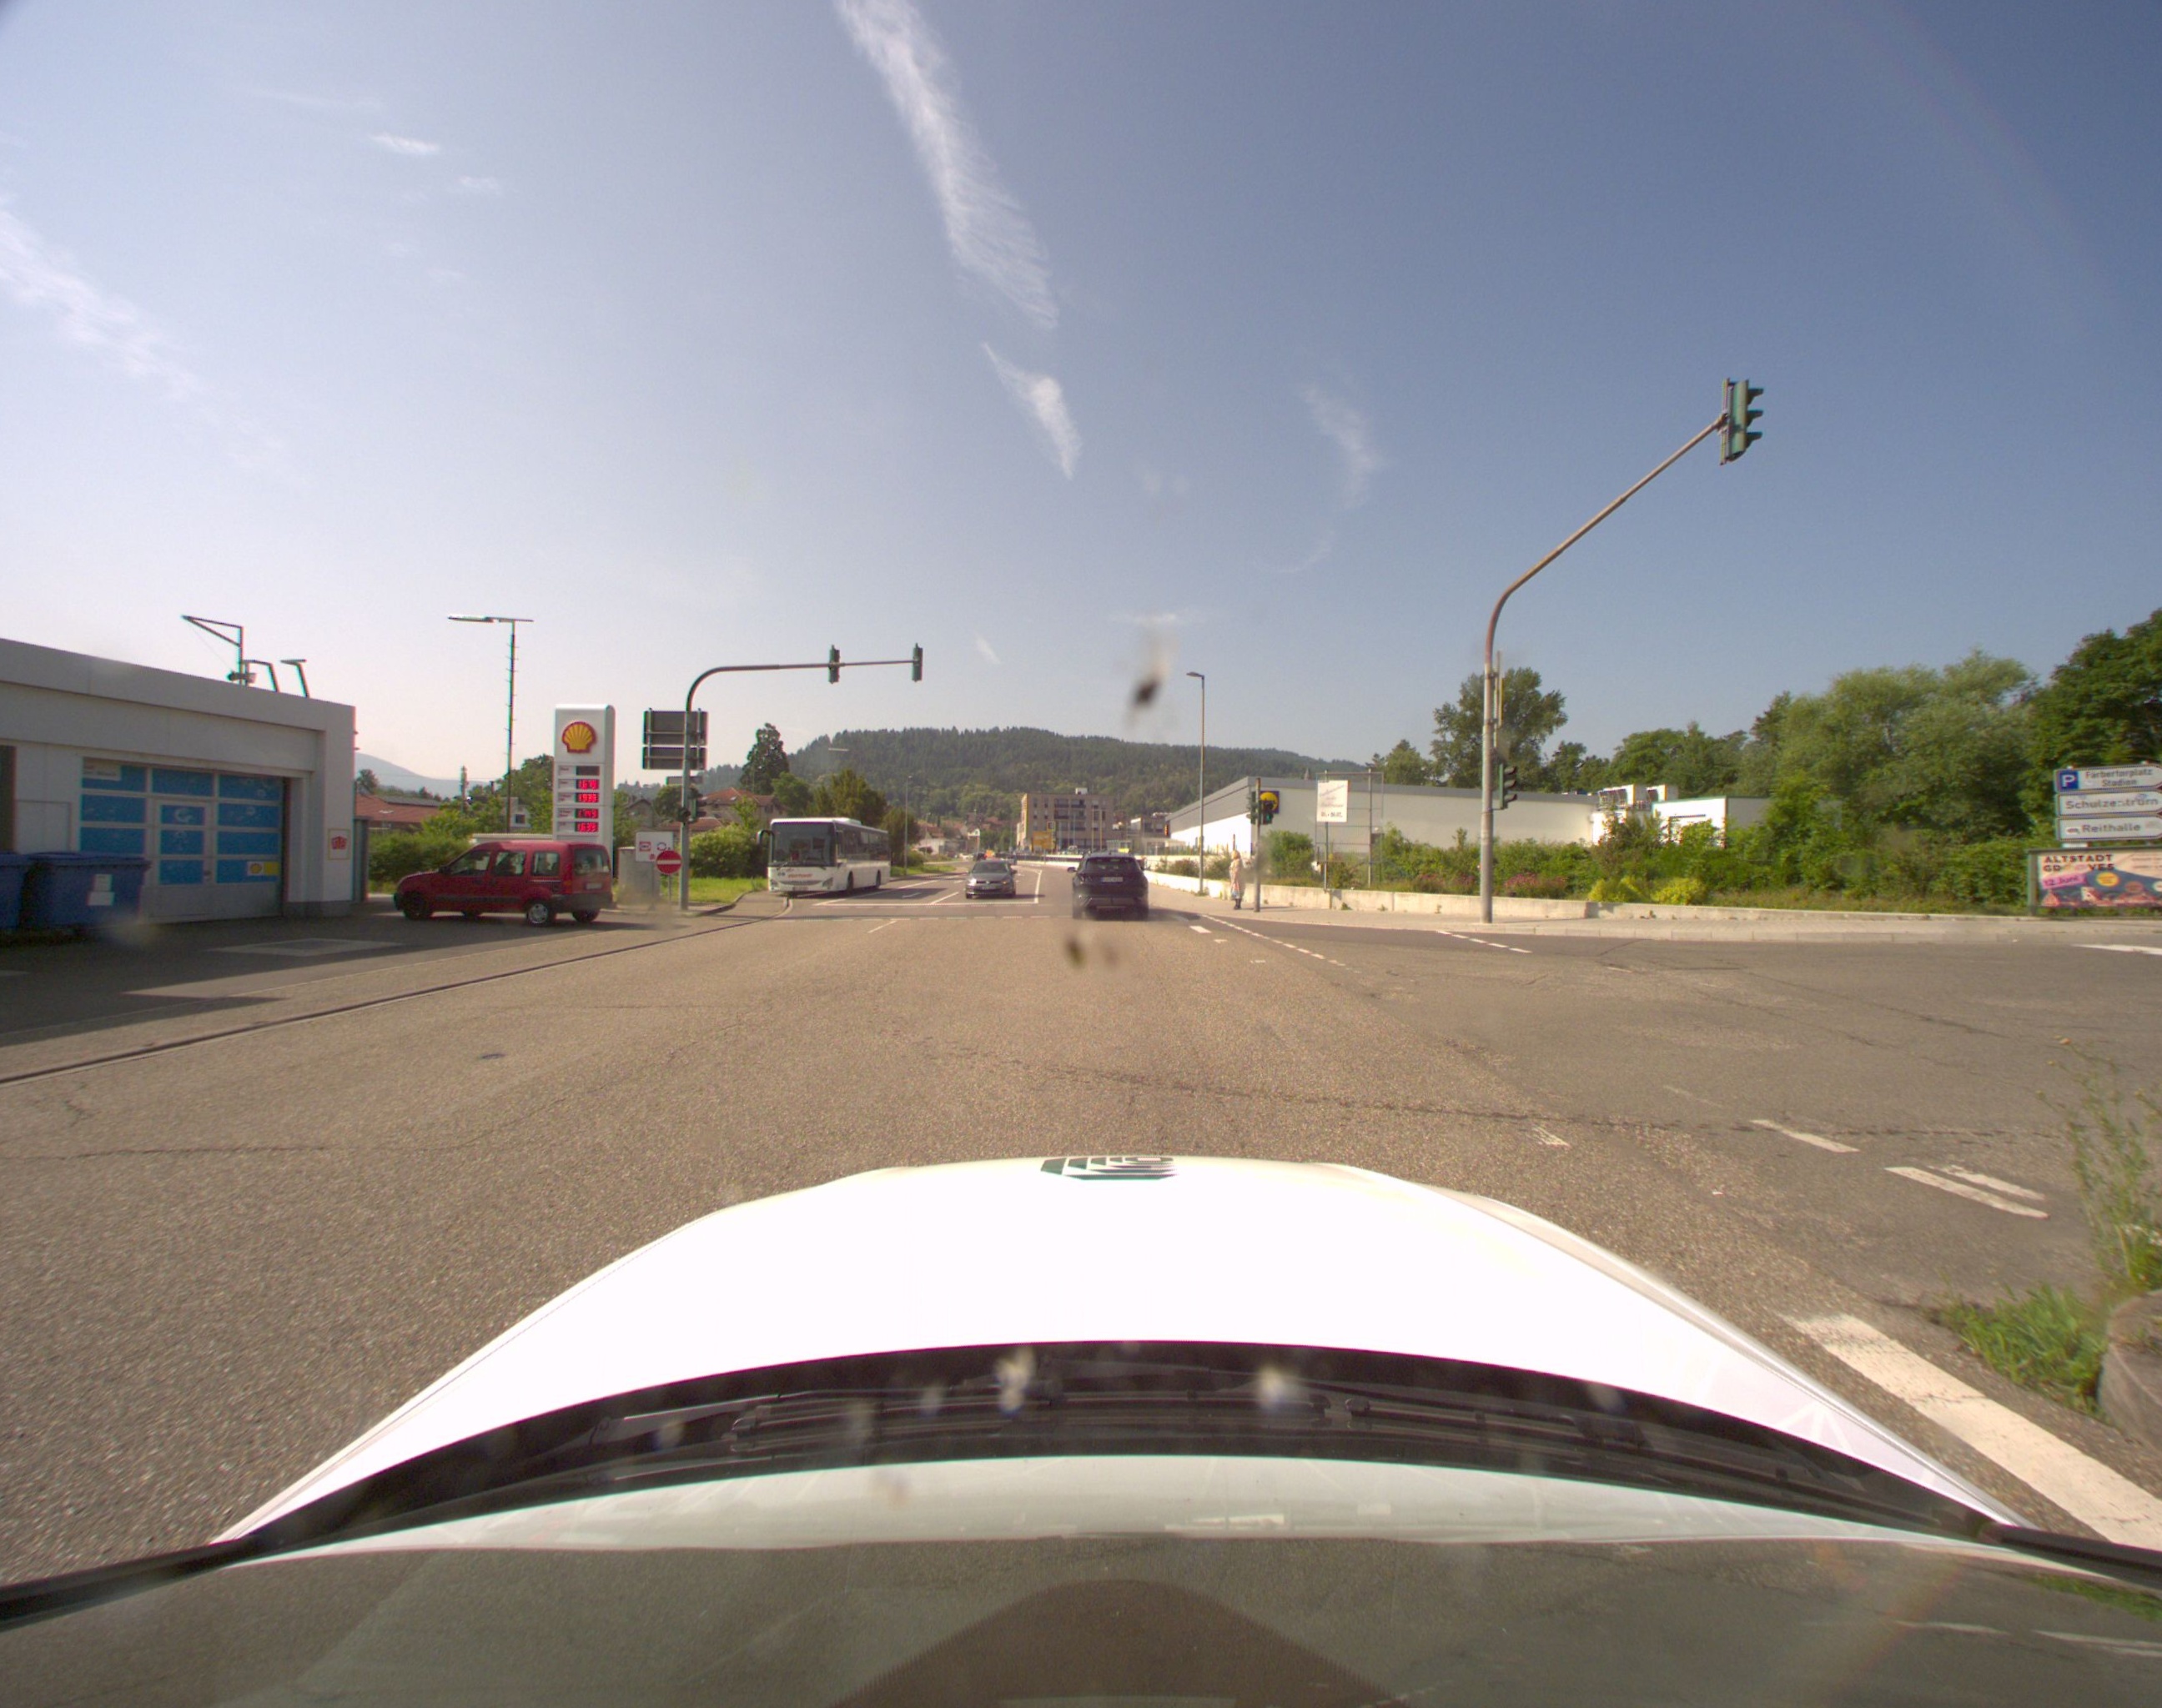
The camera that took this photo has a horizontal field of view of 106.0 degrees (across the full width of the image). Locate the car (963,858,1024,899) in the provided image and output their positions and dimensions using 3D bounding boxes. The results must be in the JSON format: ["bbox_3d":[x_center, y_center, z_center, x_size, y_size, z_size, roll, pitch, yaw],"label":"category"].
[{"bbox_3d":[-3.283,0.895,31.312,1.765,1.473,4.221,0,-1,2],"label":"car"}]

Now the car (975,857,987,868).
[{"bbox_3d":[-18.683,1.617,151.868,1.994,2.014,3.985,0,-1,-11],"label":"car"}]

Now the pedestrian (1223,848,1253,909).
[{"bbox_3d":[4.378,0.677,22.698,0.708,1.671,0.593,0,-1,-2],"label":"pedestrian"}]

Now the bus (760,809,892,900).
[{"bbox_3d":[-10.706,0.051,35.736,2.615,3.310,11.942,0,0,-3],"label":"bus"}]

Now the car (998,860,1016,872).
[{"bbox_3d":[-12.502,1.980,137.927,2.001,2.014,3.971,0,-1,-22],"label":"car"}]

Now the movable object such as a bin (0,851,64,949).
[{"bbox_3d":[-15.356,0.618,11.034,1.236,1.290,1.436,4,0,3],"label":"movable object such as a bin"}]

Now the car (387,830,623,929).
[{"bbox_3d":[-12.261,0.526,17.485,3.761,1.795,1.703,3,0,2],"label":"car"}]

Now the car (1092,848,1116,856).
[{"bbox_3d":[4.173,-0.324,147.424,4.077,1.404,1.475,0,0,-22],"label":"car"}]

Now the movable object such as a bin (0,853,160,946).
[{"bbox_3d":[-15.170,0.654,12.234,1.236,1.243,1.169,4,0,3],"label":"movable object such as a bin"}]

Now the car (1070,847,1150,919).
[{"bbox_3d":[0.742,0.706,21.153,1.874,1.684,4.001,0,-1,2],"label":"car"}]
